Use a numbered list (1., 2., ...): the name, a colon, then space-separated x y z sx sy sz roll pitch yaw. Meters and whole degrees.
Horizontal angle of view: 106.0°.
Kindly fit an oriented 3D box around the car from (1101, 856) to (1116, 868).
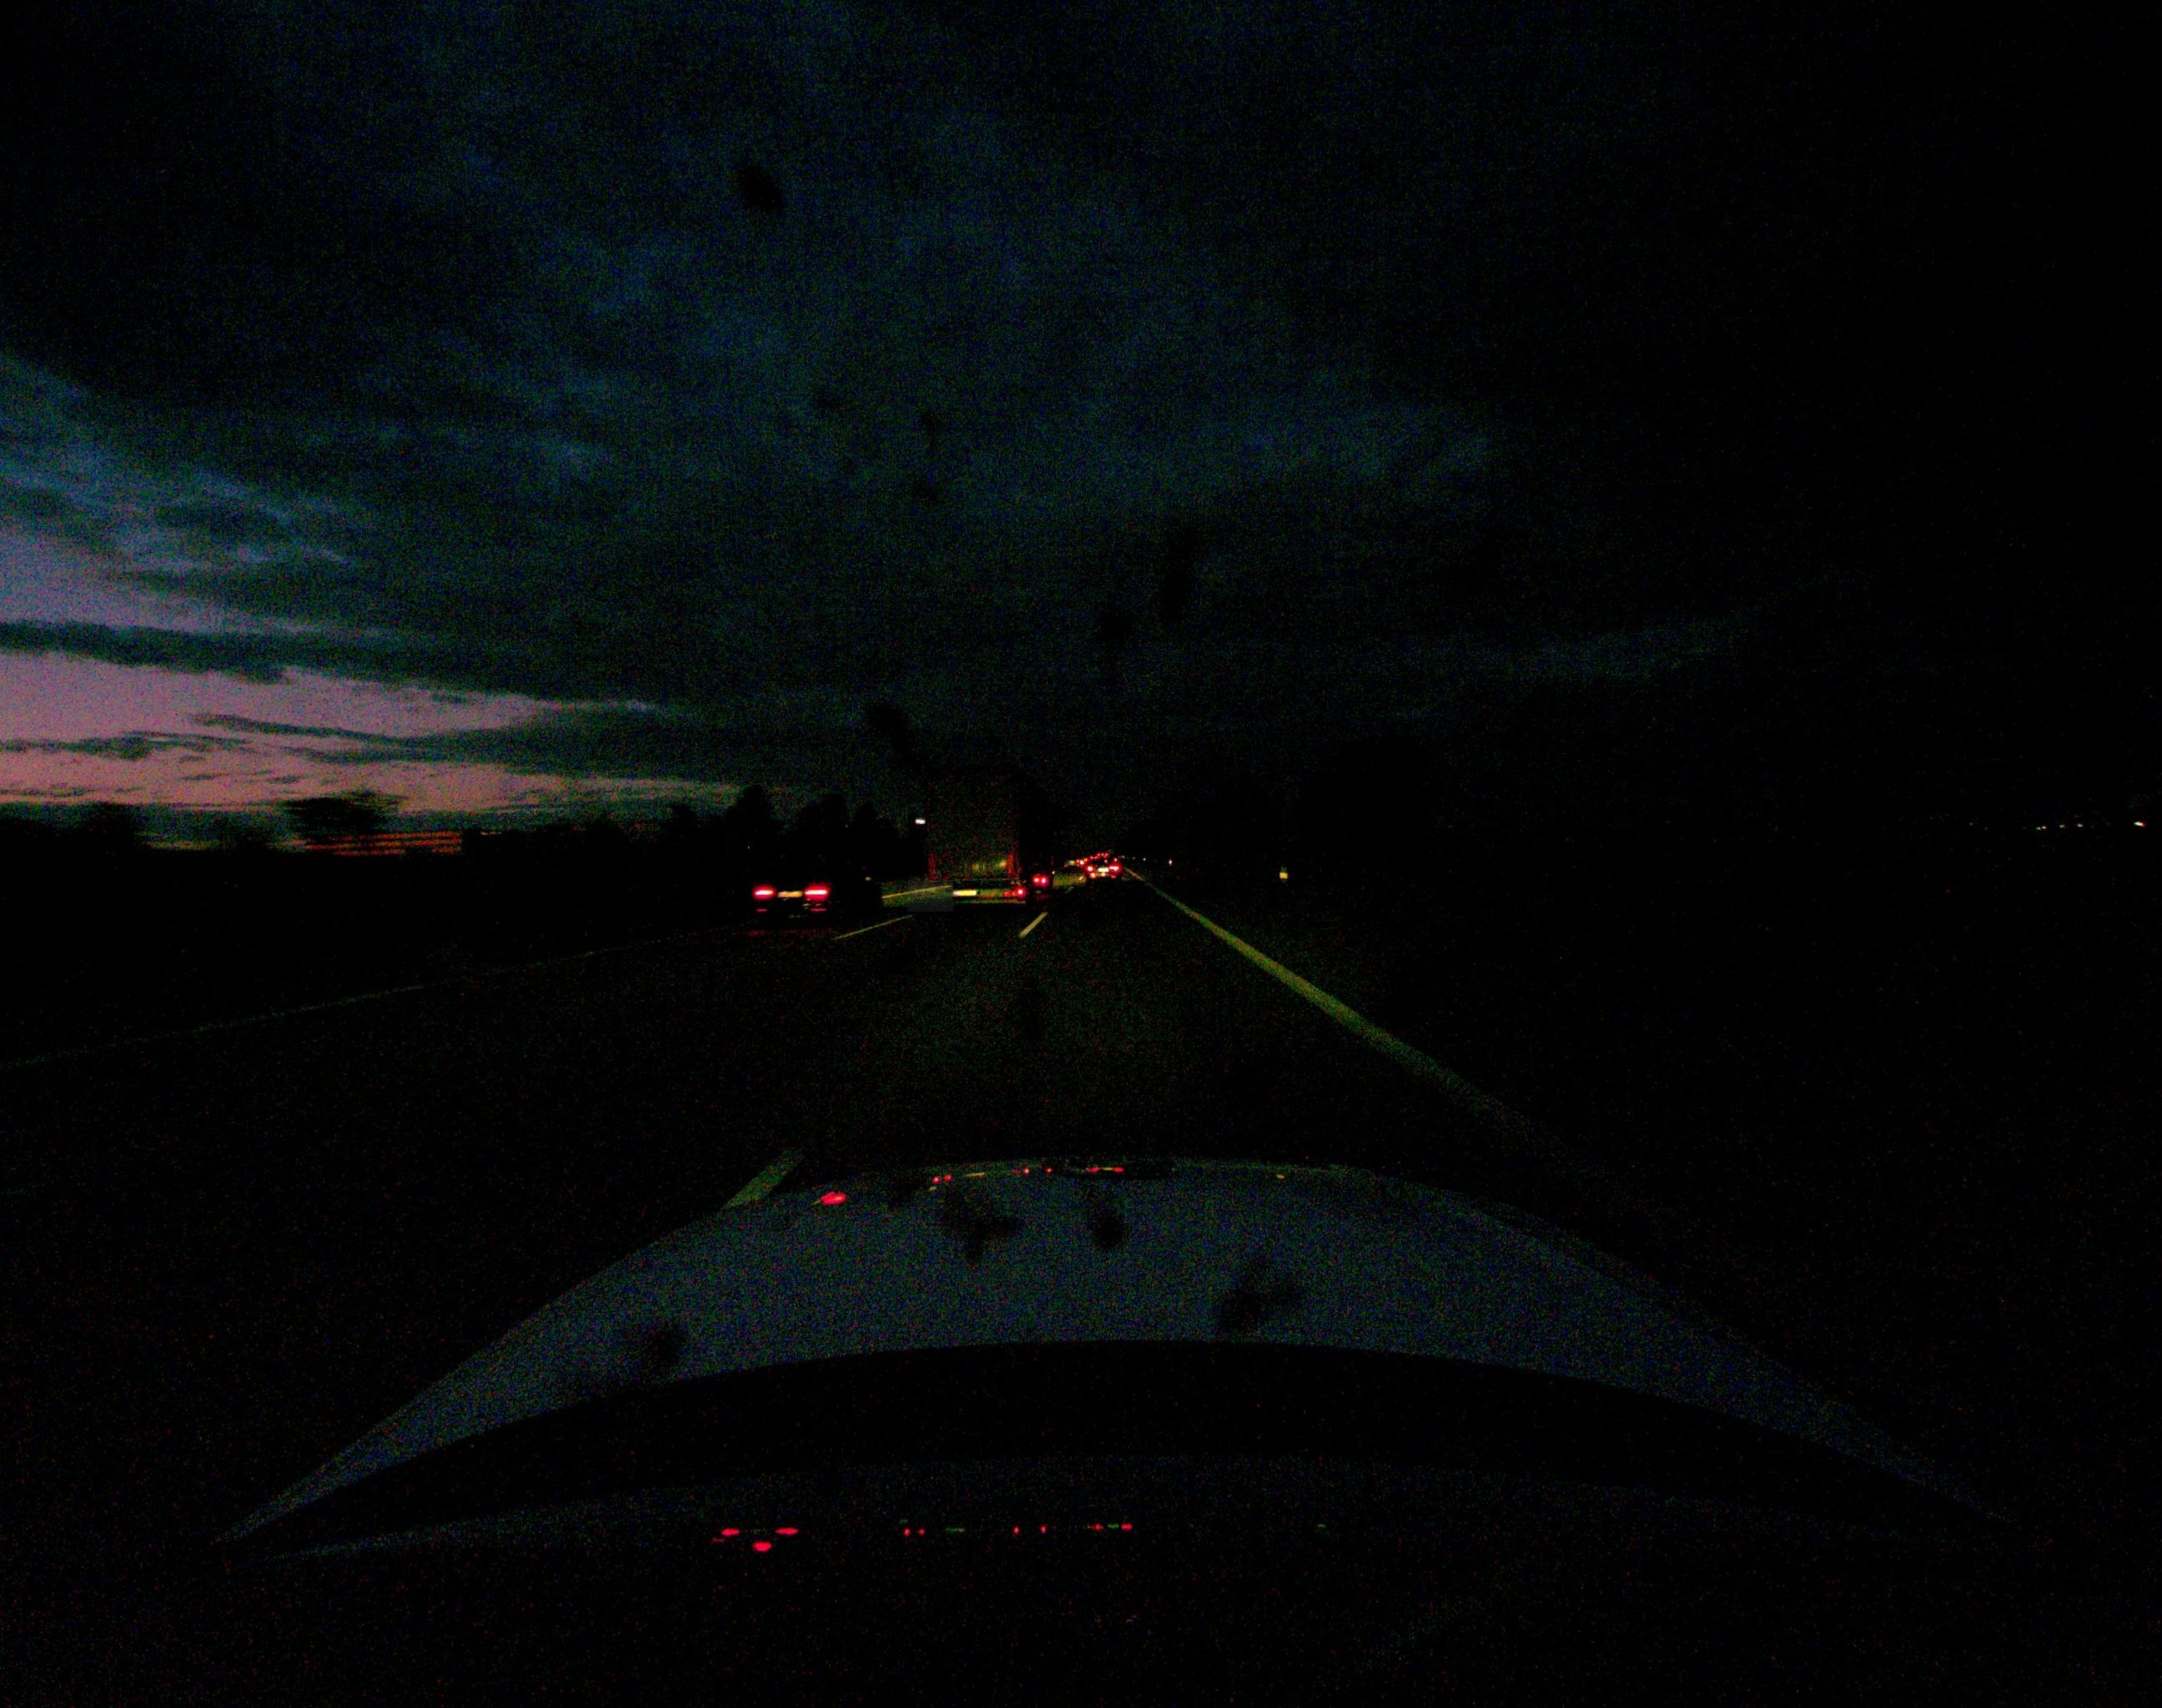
1. car: 3.616 1.009 108.273 1.873 1.552 4.001 0 -1 1

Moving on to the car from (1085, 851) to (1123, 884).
1. car: 1.227 0.684 43.206 1.873 1.643 4.001 0 -1 2

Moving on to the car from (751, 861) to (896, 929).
1. car: -6.276 0.925 20.589 1.807 1.437 5.396 0 0 1

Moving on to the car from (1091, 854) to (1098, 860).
1. car: 3.958 0.930 237.971 1.873 1.552 4.001 0 -1 1

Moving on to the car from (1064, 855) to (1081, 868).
1. car: -0.937 0.874 94.052 1.737 1.525 4.416 0 -1 2

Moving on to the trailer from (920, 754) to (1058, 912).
1. trailer: -2.643 -0.477 28.717 2.784 4.085 14.528 -2 -1 1

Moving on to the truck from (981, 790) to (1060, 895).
1. truck: -2.478 -0.421 35.352 2.768 4.093 6.104 -2 -1 1

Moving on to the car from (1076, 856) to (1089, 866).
1. car: 0.234 0.994 116.345 1.716 1.471 4.727 0 -1 1

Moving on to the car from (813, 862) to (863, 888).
1. car: -16.005 1.359 53.908 1.986 1.704 4.001 0 -1 2
